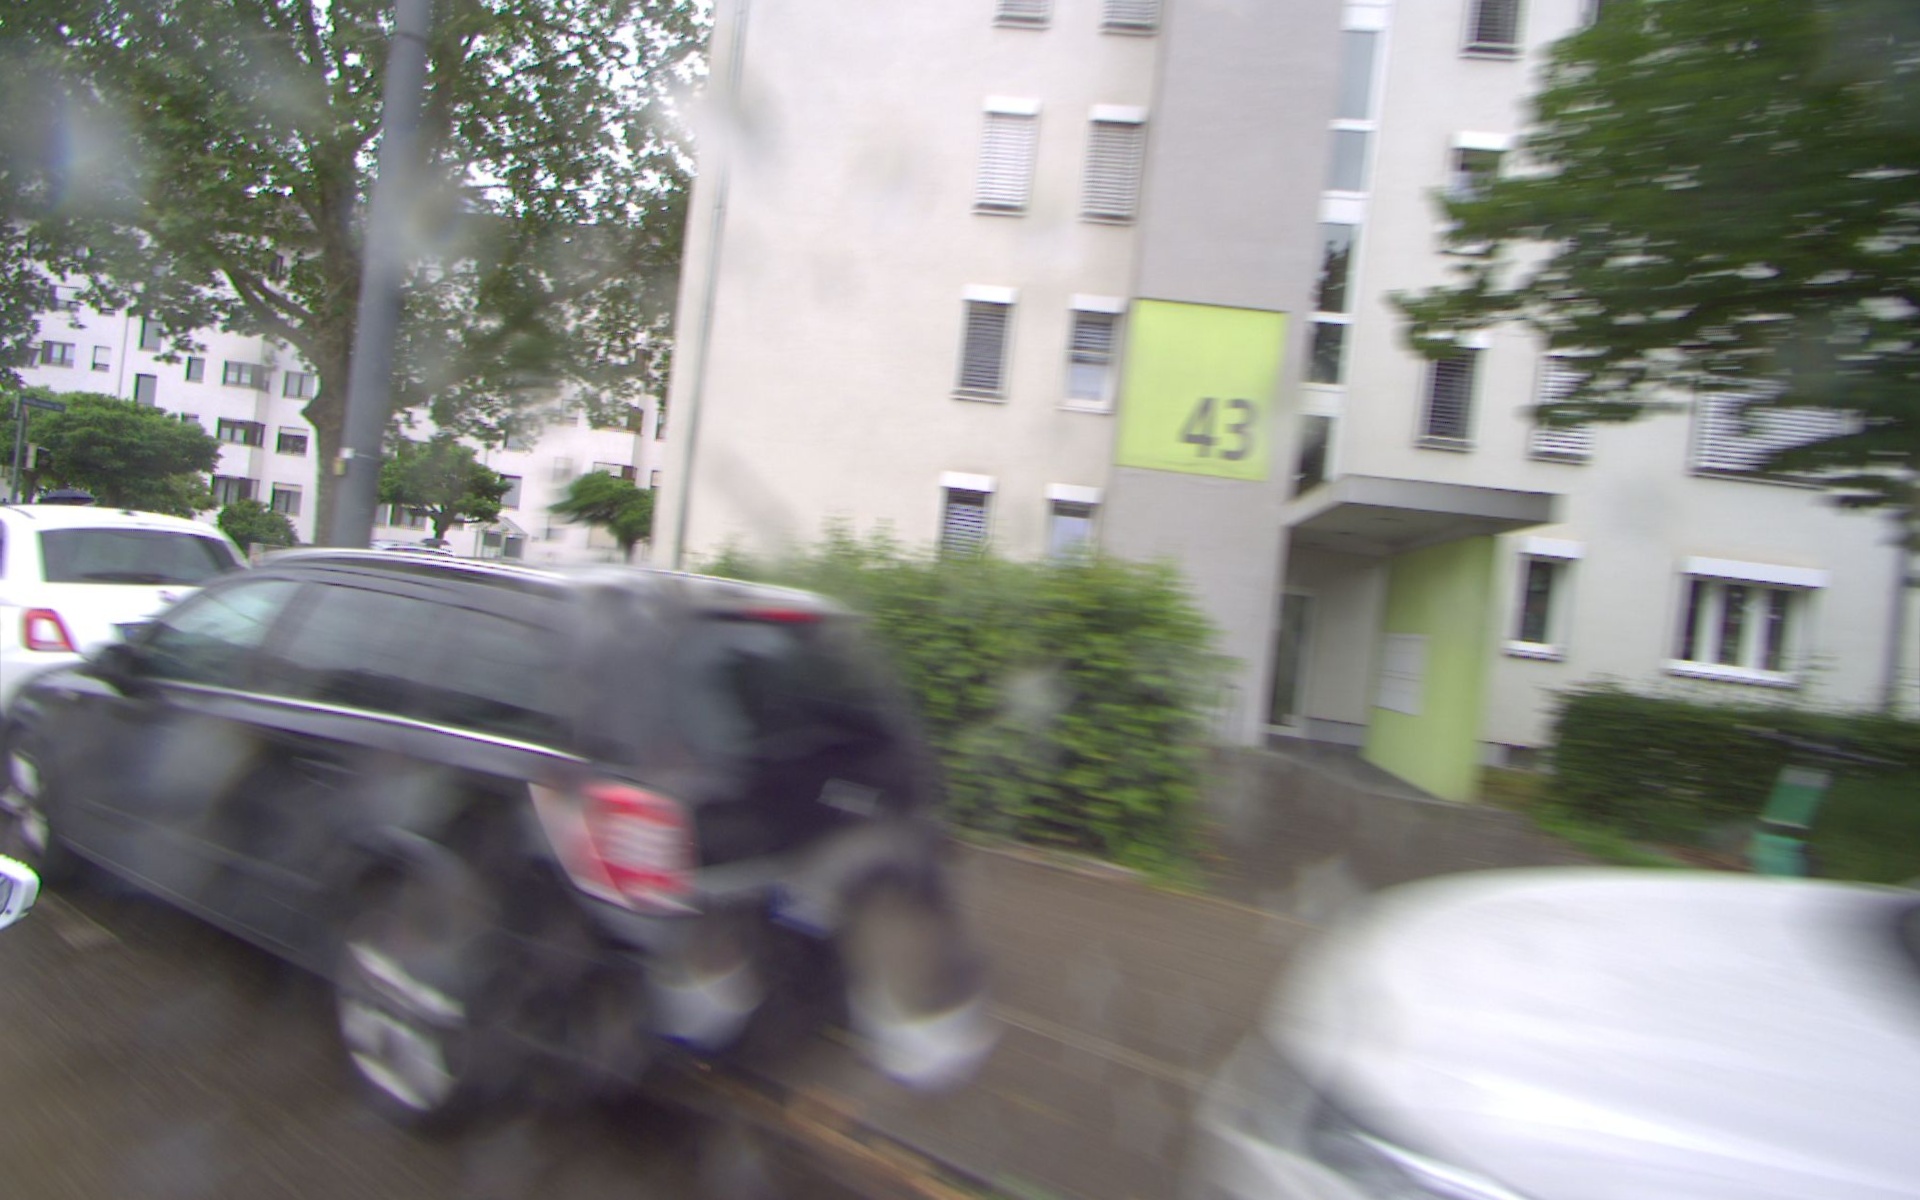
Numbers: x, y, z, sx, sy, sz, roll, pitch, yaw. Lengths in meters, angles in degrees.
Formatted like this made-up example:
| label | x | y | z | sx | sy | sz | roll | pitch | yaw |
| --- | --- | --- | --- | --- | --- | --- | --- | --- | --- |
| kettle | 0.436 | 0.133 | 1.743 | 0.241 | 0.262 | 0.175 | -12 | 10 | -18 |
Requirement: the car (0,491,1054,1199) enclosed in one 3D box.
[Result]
| label | x | y | z | sx | sy | sz | roll | pitch | yaw |
| --- | --- | --- | --- | --- | --- | --- | --- | --- | --- |
| car | -1.960 | 0.526 | 3.952 | 4.114 | 1.467 | 1.902 | 6 | 0 | 31 |

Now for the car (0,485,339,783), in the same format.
| label | x | y | z | sx | sy | sz | roll | pitch | yaw |
| --- | --- | --- | --- | --- | --- | --- | --- | --- | --- |
| car | -6.167 | 0.051 | 6.891 | 3.934 | 1.538 | 1.560 | 6 | 0 | 32 |

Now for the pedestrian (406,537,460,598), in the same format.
| label | x | y | z | sx | sy | sz | roll | pitch | yaw |
| --- | --- | --- | --- | --- | --- | --- | --- | --- | --- |
| pedestrian | -17.047 | -1.041 | 32.547 | 0.709 | 1.790 | 1.180 | 7 | 0 | 31 |

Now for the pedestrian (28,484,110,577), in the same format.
| label | x | y | z | sx | sy | sz | roll | pitch | yaw |
| --- | --- | --- | --- | --- | --- | --- | --- | --- | --- |
| pedestrian | -19.484 | -1.528 | 22.003 | 1.415 | 1.835 | 1.097 | 7 | 0 | 44 |

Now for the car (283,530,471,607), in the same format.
| label | x | y | z | sx | sy | sz | roll | pitch | yaw |
| --- | --- | --- | --- | --- | --- | --- | --- | --- | --- |
| car | -16.975 | -0.866 | 29.491 | 1.842 | 1.701 | 4.294 | 6 | -1 | 35 |

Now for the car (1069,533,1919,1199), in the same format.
| label | x | y | z | sx | sy | sz | roll | pitch | yaw |
| --- | --- | --- | --- | --- | --- | --- | --- | --- | --- |
| car | 2.383 | 0.951 | 1.288 | 4.043 | 1.594 | 1.902 | 6 | 0 | 31 |

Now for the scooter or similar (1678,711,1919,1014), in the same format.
| label | x | y | z | sx | sy | sz | roll | pitch | yaw |
| --- | --- | --- | --- | --- | --- | --- | --- | --- | --- |
| scooter or similar | 4.688 | 1.326 | 5.377 | 0.467 | 1.277 | 1.323 | 6 | 0 | -10 |
